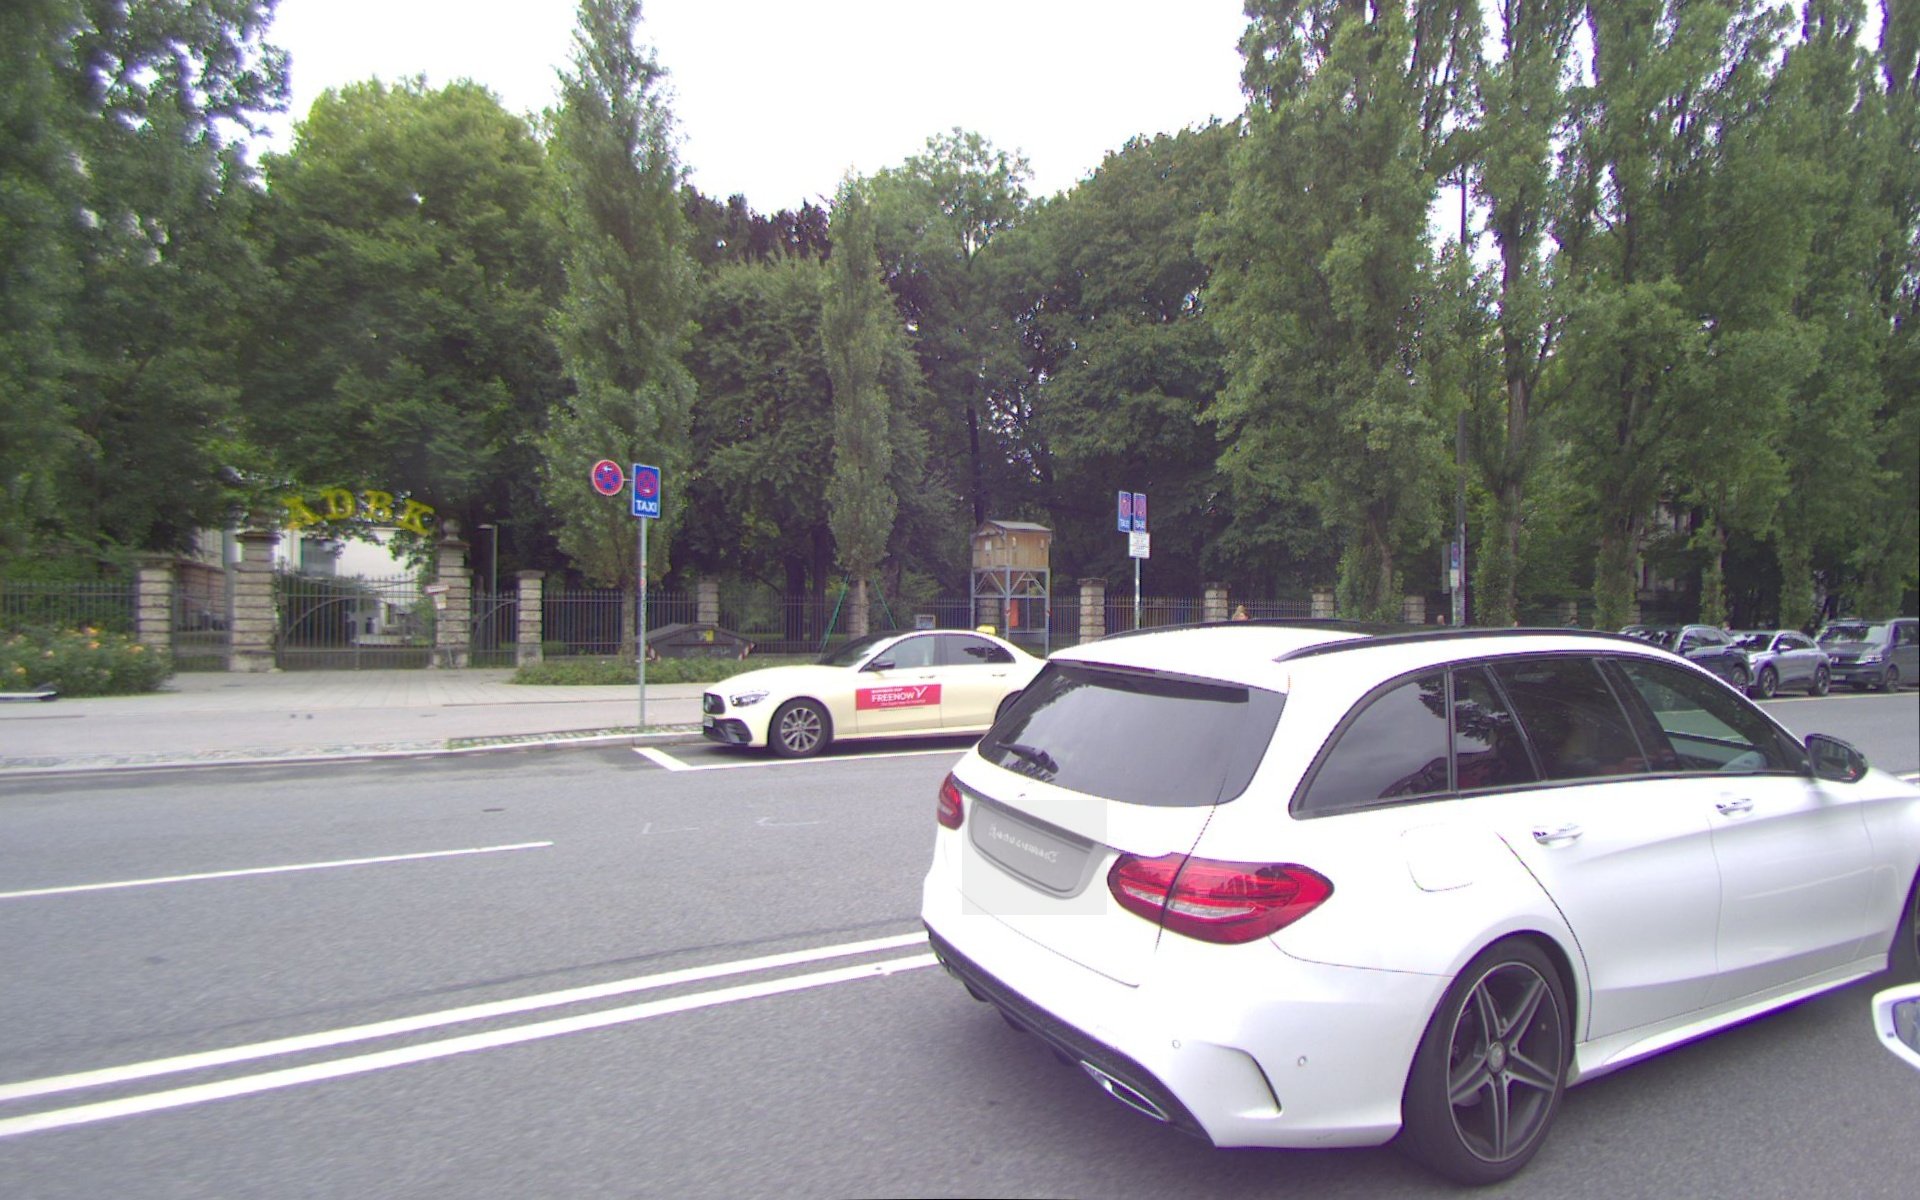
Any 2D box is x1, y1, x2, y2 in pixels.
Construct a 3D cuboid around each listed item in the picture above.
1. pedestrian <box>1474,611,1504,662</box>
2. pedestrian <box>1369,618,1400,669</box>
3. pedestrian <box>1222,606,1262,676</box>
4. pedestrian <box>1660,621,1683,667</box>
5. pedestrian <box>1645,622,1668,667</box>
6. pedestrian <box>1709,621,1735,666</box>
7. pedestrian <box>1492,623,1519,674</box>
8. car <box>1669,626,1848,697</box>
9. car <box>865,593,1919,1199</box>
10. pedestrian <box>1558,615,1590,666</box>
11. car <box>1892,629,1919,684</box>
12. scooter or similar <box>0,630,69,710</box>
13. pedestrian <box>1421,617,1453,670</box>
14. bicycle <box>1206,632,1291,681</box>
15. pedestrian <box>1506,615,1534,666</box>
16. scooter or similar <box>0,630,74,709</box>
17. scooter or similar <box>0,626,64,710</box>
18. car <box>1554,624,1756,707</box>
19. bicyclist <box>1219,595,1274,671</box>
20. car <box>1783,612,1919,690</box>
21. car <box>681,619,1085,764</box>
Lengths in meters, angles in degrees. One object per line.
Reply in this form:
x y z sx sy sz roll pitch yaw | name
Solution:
18.645 1.277 35.402 0.724 1.745 0.664 1 -1 -28 | pedestrian
13.627 1.379 32.234 0.695 1.617 0.616 1 0 -28 | pedestrian
7.142 1.024 25.464 0.778 1.743 0.579 1 0 -31 | pedestrian
27.178 1.688 38.360 0.562 1.730 0.506 1 0 -28 | pedestrian
26.940 1.708 38.853 0.562 1.730 0.506 1 0 -28 | pedestrian
30.618 1.726 40.359 0.748 1.780 0.605 1 -1 -30 | pedestrian
18.933 1.684 34.838 0.714 1.730 0.506 1 0 -29 | pedestrian
19.601 1.449 24.619 4.599 1.605 1.882 1 -2 -30 | car
2.074 0.766 3.911 4.526 1.474 1.818 1 0 -29 | car
23.102 1.504 37.793 0.748 1.879 0.744 1 0 -28 | pedestrian
30.442 1.689 30.432 4.993 1.630 1.807 1 -3 -30 | car
-14.510 1.073 15.480 1.109 1.217 0.242 1 -1 -29 | scooter or similar
15.282 1.377 32.194 0.695 1.682 0.616 1 0 -28 | pedestrian
5.924 1.134 20.619 1.715 0.951 0.704 1 0 -31 | bicycle
19.141 1.373 34.323 0.665 1.691 0.547 1 0 -28 | pedestrian
-14.631 1.073 15.714 1.109 1.217 0.242 1 -1 -29 | scooter or similar
-14.385 1.020 15.242 1.126 1.258 0.257 1 -1 -29 | scooter or similar
15.011 1.352 21.643 4.558 1.617 1.774 1 -3 -30 | car
5.872 0.675 20.592 0.851 1.518 0.690 1 -1 -31 | bicyclist
24.950 1.362 27.581 4.878 1.982 1.985 1 -2 -30 | car
-0.919 1.017 12.649 4.731 1.517 1.923 0 -1 -29 | car
